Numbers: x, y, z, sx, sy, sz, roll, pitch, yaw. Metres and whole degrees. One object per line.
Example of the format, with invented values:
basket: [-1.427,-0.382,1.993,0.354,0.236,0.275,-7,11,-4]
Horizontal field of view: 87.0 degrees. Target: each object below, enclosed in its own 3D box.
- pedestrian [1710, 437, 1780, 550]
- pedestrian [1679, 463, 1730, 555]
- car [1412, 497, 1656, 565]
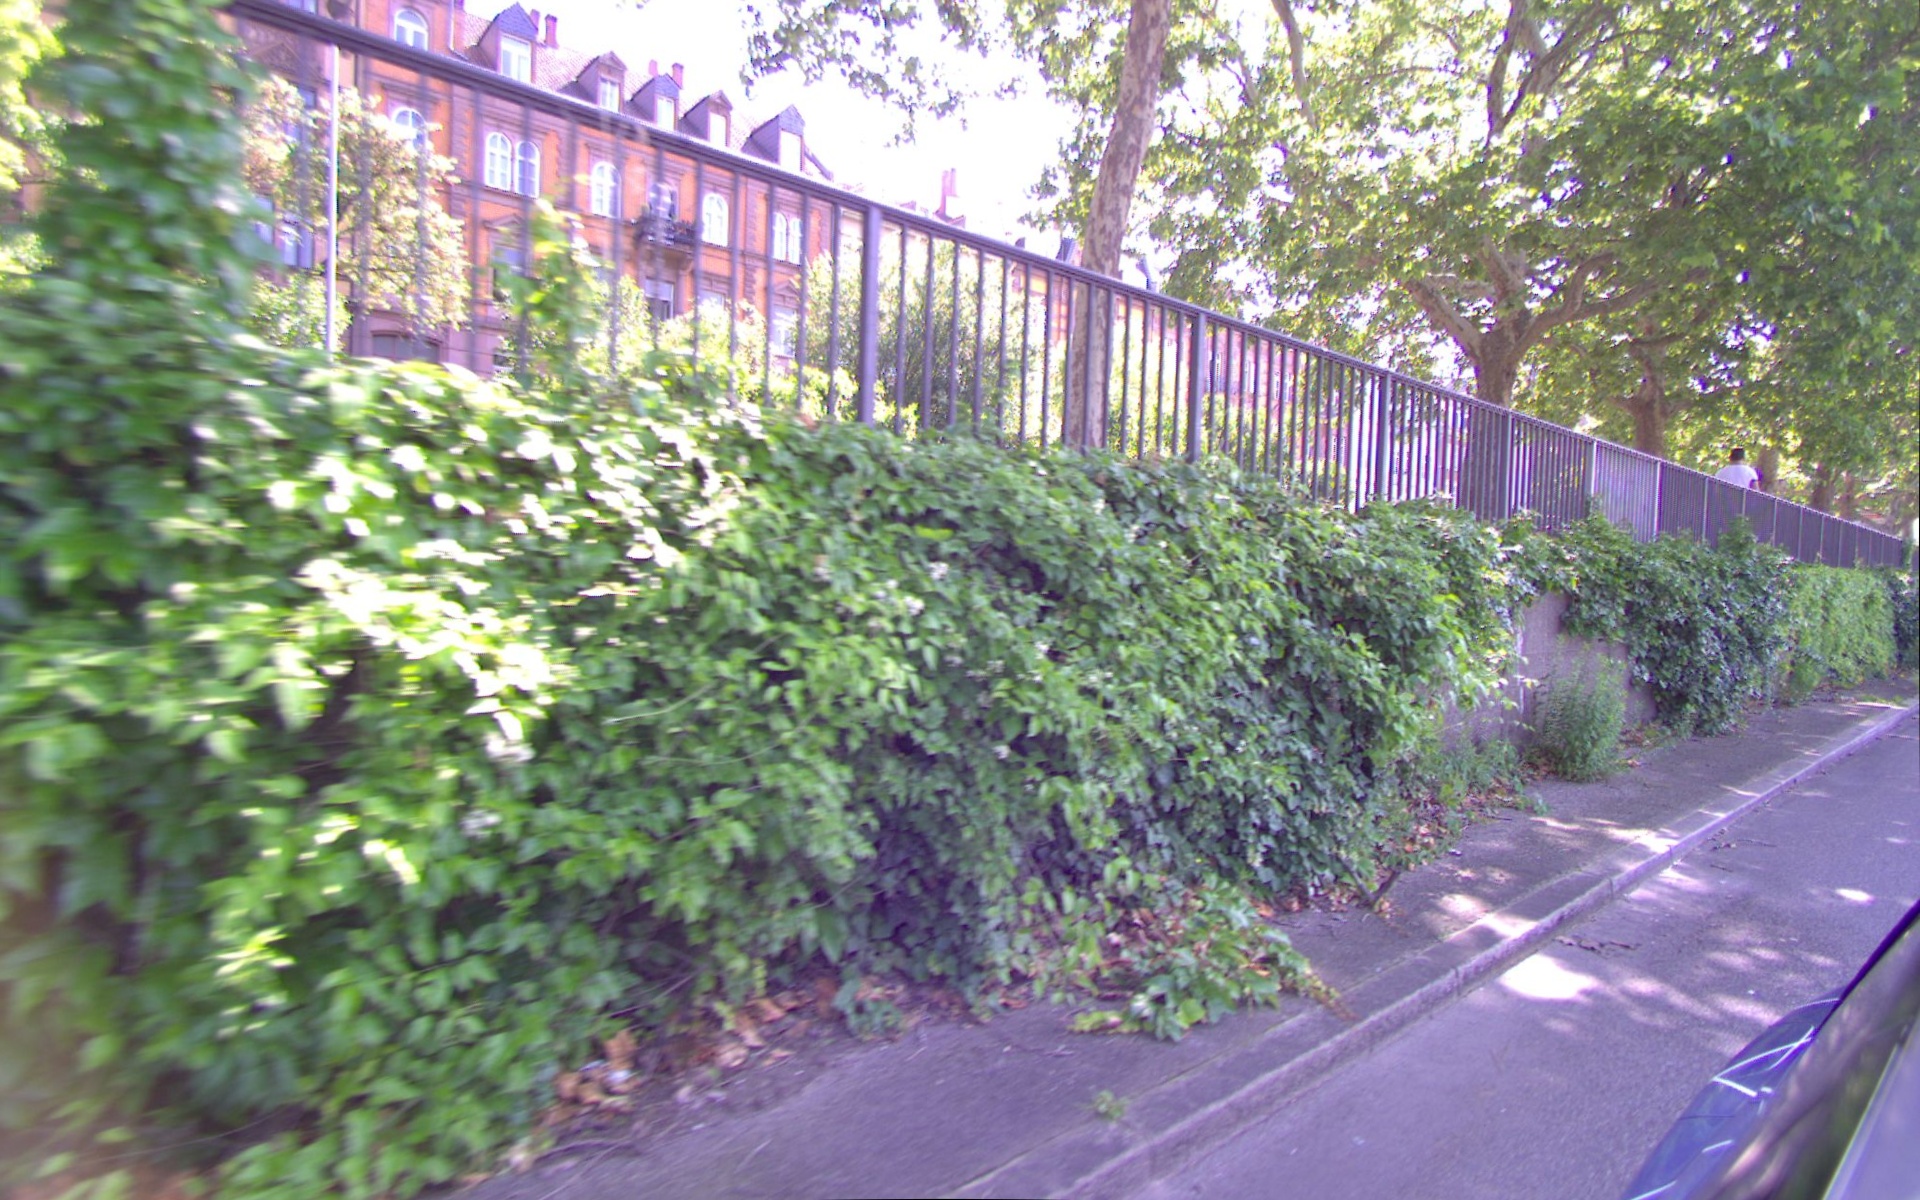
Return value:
pedestrian: [11.725,-1.576,15.120,0.639,1.610,0.666,1,2,-42]
pedestrian: [13.806,-1.672,18.761,0.646,1.660,0.617,3,2,41]
car: [10.874,-1.291,19.339,1.623,1.128,3.735,0,2,-44]
